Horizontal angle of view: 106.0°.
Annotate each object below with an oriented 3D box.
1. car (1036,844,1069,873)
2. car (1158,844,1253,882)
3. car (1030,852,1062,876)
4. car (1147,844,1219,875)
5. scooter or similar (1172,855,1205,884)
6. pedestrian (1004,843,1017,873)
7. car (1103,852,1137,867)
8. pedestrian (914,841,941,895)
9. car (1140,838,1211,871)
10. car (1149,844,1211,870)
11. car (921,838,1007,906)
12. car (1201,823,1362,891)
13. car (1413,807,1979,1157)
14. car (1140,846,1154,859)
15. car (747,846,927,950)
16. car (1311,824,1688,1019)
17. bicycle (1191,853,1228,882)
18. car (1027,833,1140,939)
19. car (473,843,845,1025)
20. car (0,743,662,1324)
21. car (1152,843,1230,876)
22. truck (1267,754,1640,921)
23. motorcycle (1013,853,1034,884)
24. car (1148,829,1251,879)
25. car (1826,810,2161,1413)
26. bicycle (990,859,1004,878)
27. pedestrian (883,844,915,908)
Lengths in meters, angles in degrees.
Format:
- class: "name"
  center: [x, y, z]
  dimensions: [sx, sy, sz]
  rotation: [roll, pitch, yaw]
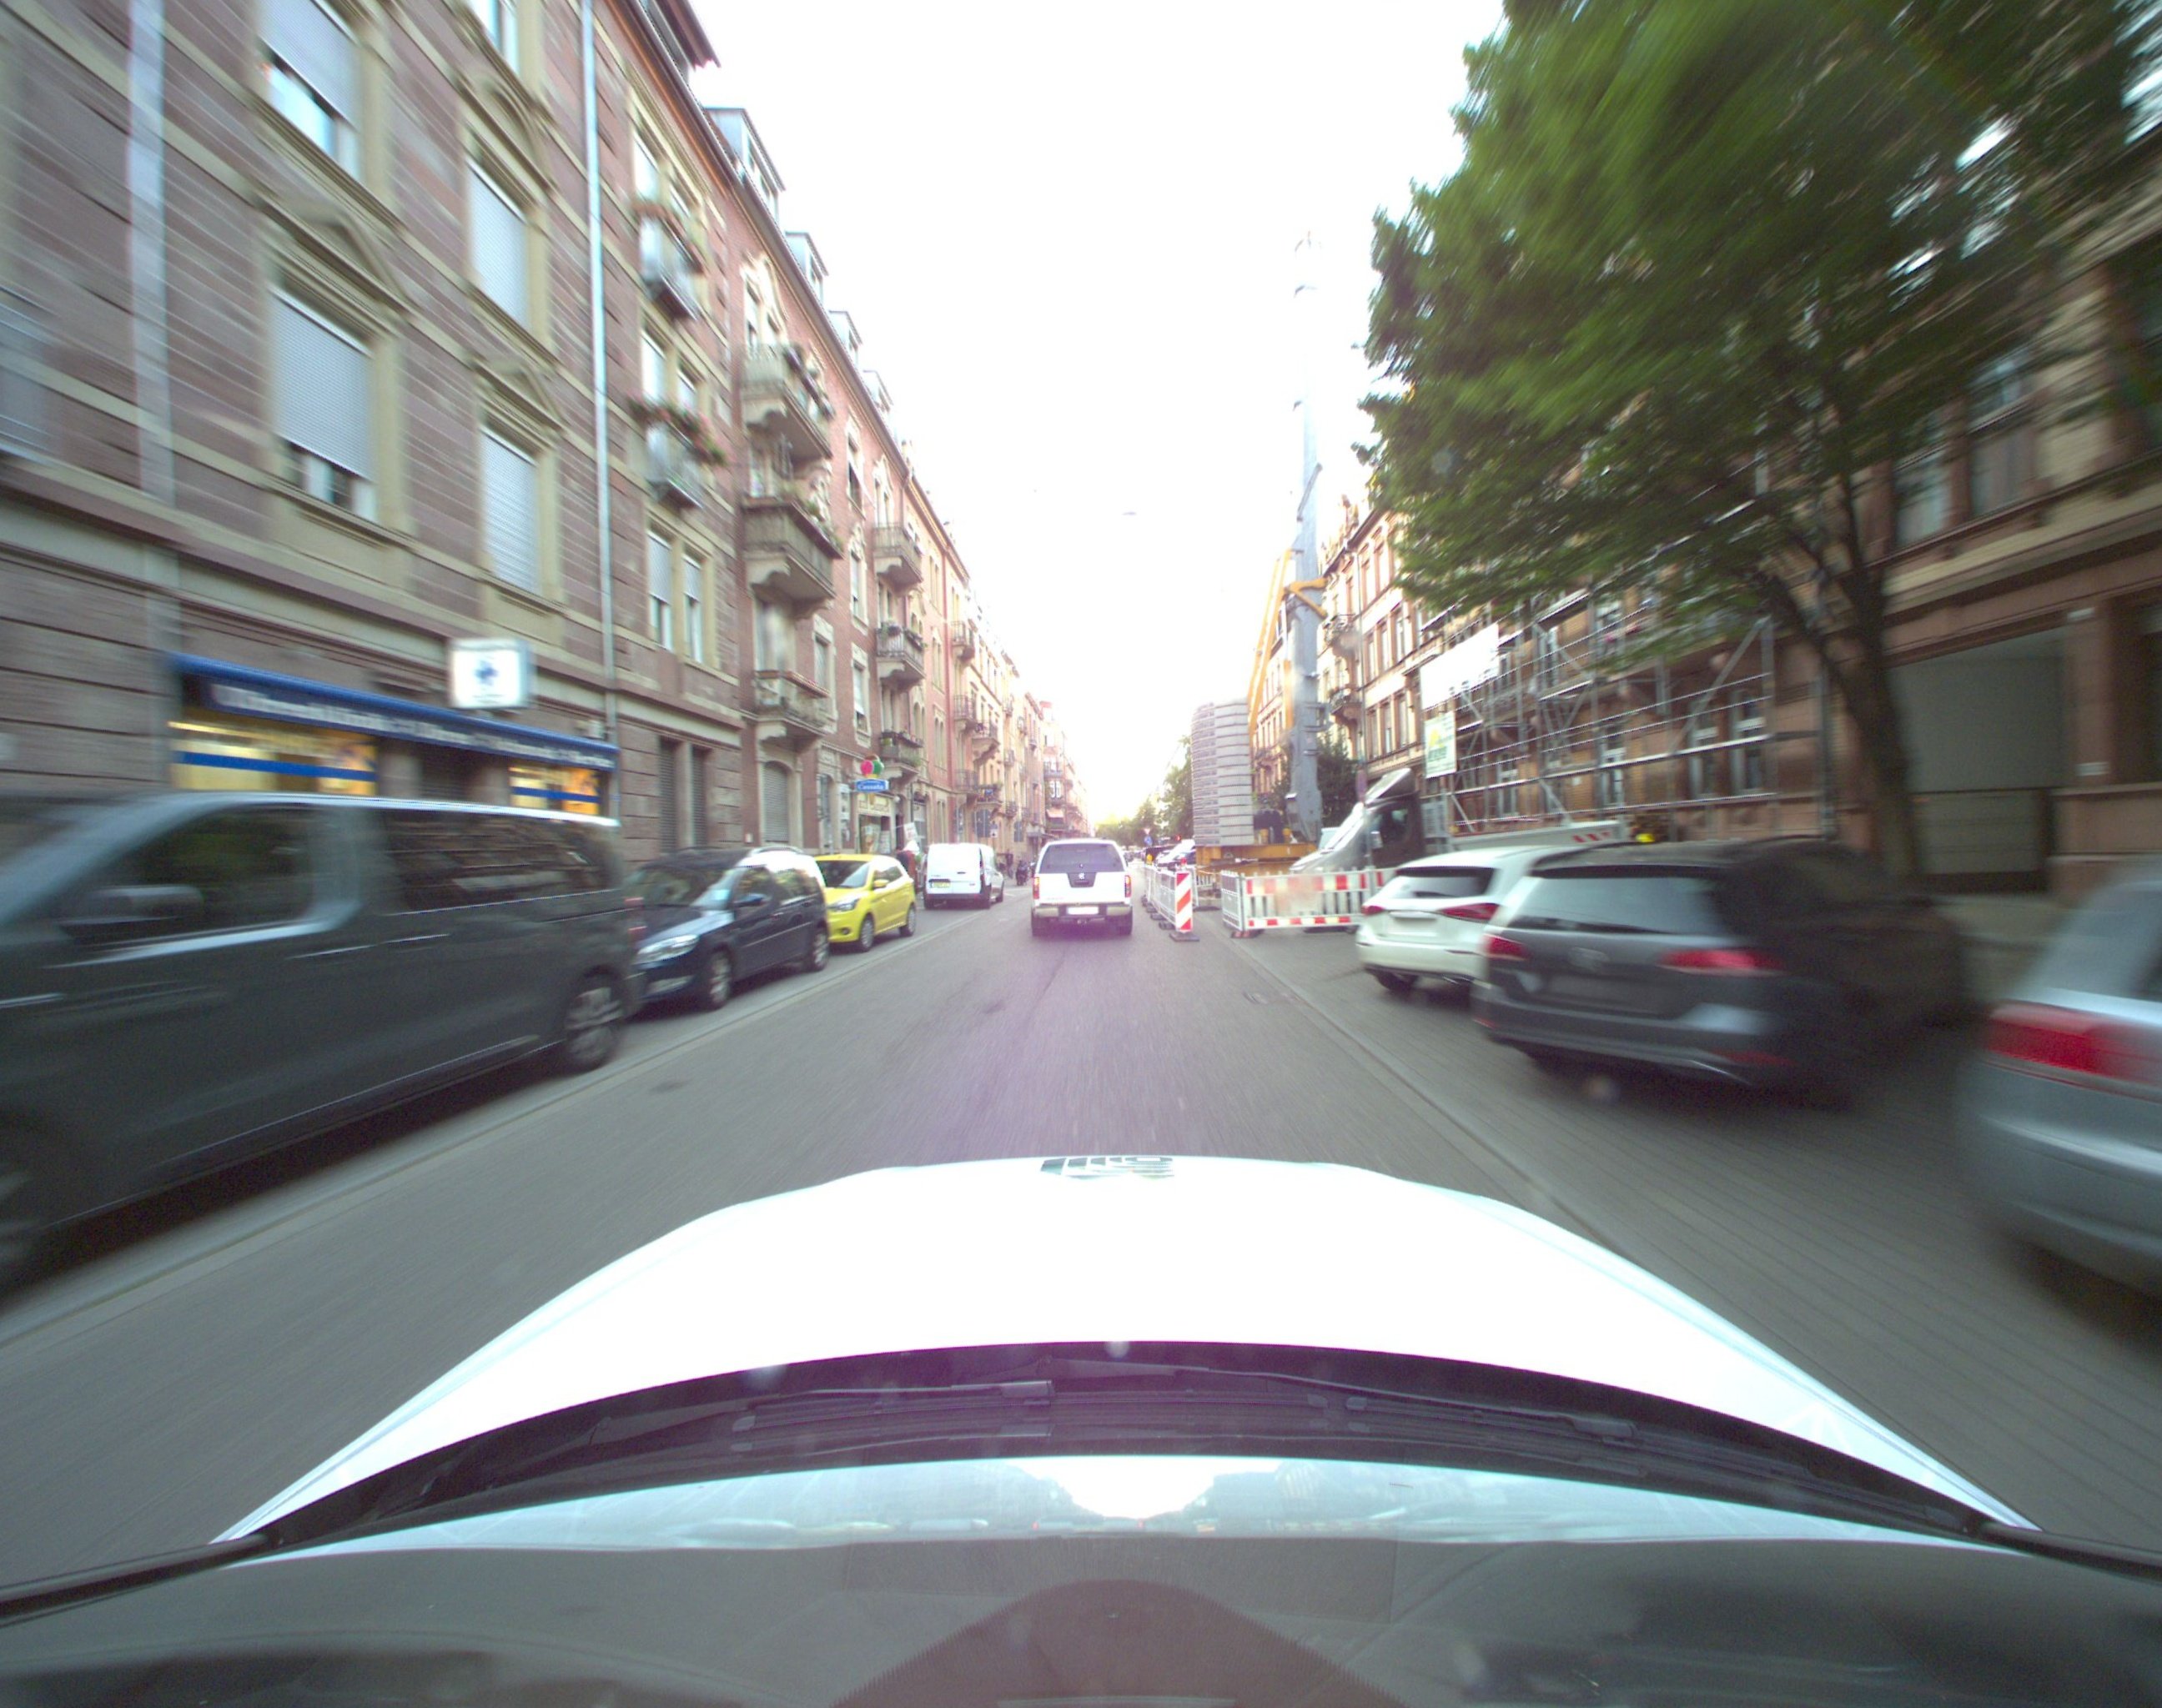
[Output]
- class: "car"
  center: [-2.018, 0.328, 58.317]
  dimensions: [1.829, 1.921, 4.850]
  rotation: [-1, 0, 4]
- class: "car"
  center: [5.635, 0.393, 36.916]
  dimensions: [3.872, 1.516, 1.833]
  rotation: [-3, 0, -24]
- class: "car"
  center: [-2.223, 0.612, 52.548]
  dimensions: [1.830, 1.471, 4.173]
  rotation: [-1, 0, 1]
- class: "car"
  center: [6.389, 0.320, 50.921]
  dimensions: [4.120, 1.590, 1.802]
  rotation: [-5, 1, -28]
- class: "scooter or similar"
  center: [4.489, 0.635, 34.074]
  dimensions: [0.657, 1.150, 1.474]
  rotation: [-4, 1, -21]
- class: "pedestrian"
  center: [-4.272, 0.235, 49.406]
  dimensions: [0.680, 1.810, 0.960]
  rotation: [0, -1, -3]
- class: "car"
  center: [4.676, 0.666, 97.771]
  dimensions: [3.733, 1.728, 1.777]
  rotation: [-1, -1, 14]
- class: "pedestrian"
  center: [-5.252, 0.474, 27.882]
  dimensions: [0.593, 1.814, 0.724]
  rotation: [-1, -1, 21]
- class: "car"
  center: [7.309, 0.032, 62.516]
  dimensions: [5.462, 2.072, 1.912]
  rotation: [-5, 1, -36]
- class: "car"
  center: [7.230, 0.196, 59.176]
  dimensions: [4.121, 1.551, 1.801]
  rotation: [-5, 1, -29]
- class: "car"
  center: [-3.317, 0.497, 23.991]
  dimensions: [1.764, 1.789, 4.588]
  rotation: [-1, -1, 1]
- class: "car"
  center: [6.966, 0.078, 28.671]
  dimensions: [5.154, 1.955, 1.900]
  rotation: [-4, 1, 1]
- class: "car"
  center: [4.413, 0.547, 5.656]
  dimensions: [4.187, 1.488, 1.812]
  rotation: [-4, 0, -34]
- class: "car"
  center: [10.070, -0.144, 124.248]
  dimensions: [1.935, 1.934, 4.002]
  rotation: [0, -1, 2]
- class: "car"
  center: [-4.022, 0.662, 14.118]
  dimensions: [1.697, 1.530, 3.797]
  rotation: [-1, 0, 4]
- class: "car"
  center: [4.520, 0.554, 8.642]
  dimensions: [4.010, 1.488, 1.668]
  rotation: [-4, 0, -32]
- class: "bicycle"
  center: [5.385, 0.565, 34.136]
  dimensions: [0.498, 1.136, 1.797]
  rotation: [-4, 1, -28]
- class: "car"
  center: [-0.027, 0.564, 16.480]
  dimensions: [1.933, 1.810, 4.997]
  rotation: [0, -1, -2]
- class: "car"
  center: [-4.383, 0.718, 9.298]
  dimensions: [1.918, 1.596, 3.974]
  rotation: [-1, 0, 4]
- class: "car"
  center: [-4.424, 0.597, 4.097]
  dimensions: [1.920, 1.882, 4.907]
  rotation: [-1, 0, 2]
- class: "car"
  center: [6.477, 0.330, 47.994]
  dimensions: [4.178, 1.590, 1.868]
  rotation: [-5, 1, -28]
- class: "truck"
  center: [7.252, -0.276, 16.637]
  dimensions: [6.448, 3.076, 2.528]
  rotation: [0, -1, 5]
- class: "motorcycle"
  center: [-2.743, 0.689, 38.937]
  dimensions: [0.681, 1.405, 2.017]
  rotation: [0, -1, 5]
- class: "car"
  center: [6.180, -0.027, 42.459]
  dimensions: [4.945, 2.362, 1.984]
  rotation: [-3, 0, -24]
- class: "car"
  center: [4.407, 0.578, 2.667]
  dimensions: [3.643, 1.420, 1.814]
  rotation: [-4, 0, -29]
- class: "bicycle"
  center: [-4.965, 0.833, 48.225]
  dimensions: [0.748, 1.101, 2.022]
  rotation: [0, -1, -4]
- class: "pedestrian"
  center: [-5.027, 0.604, 22.504]
  dimensions: [0.613, 1.730, 0.589]
  rotation: [-1, -1, 31]
